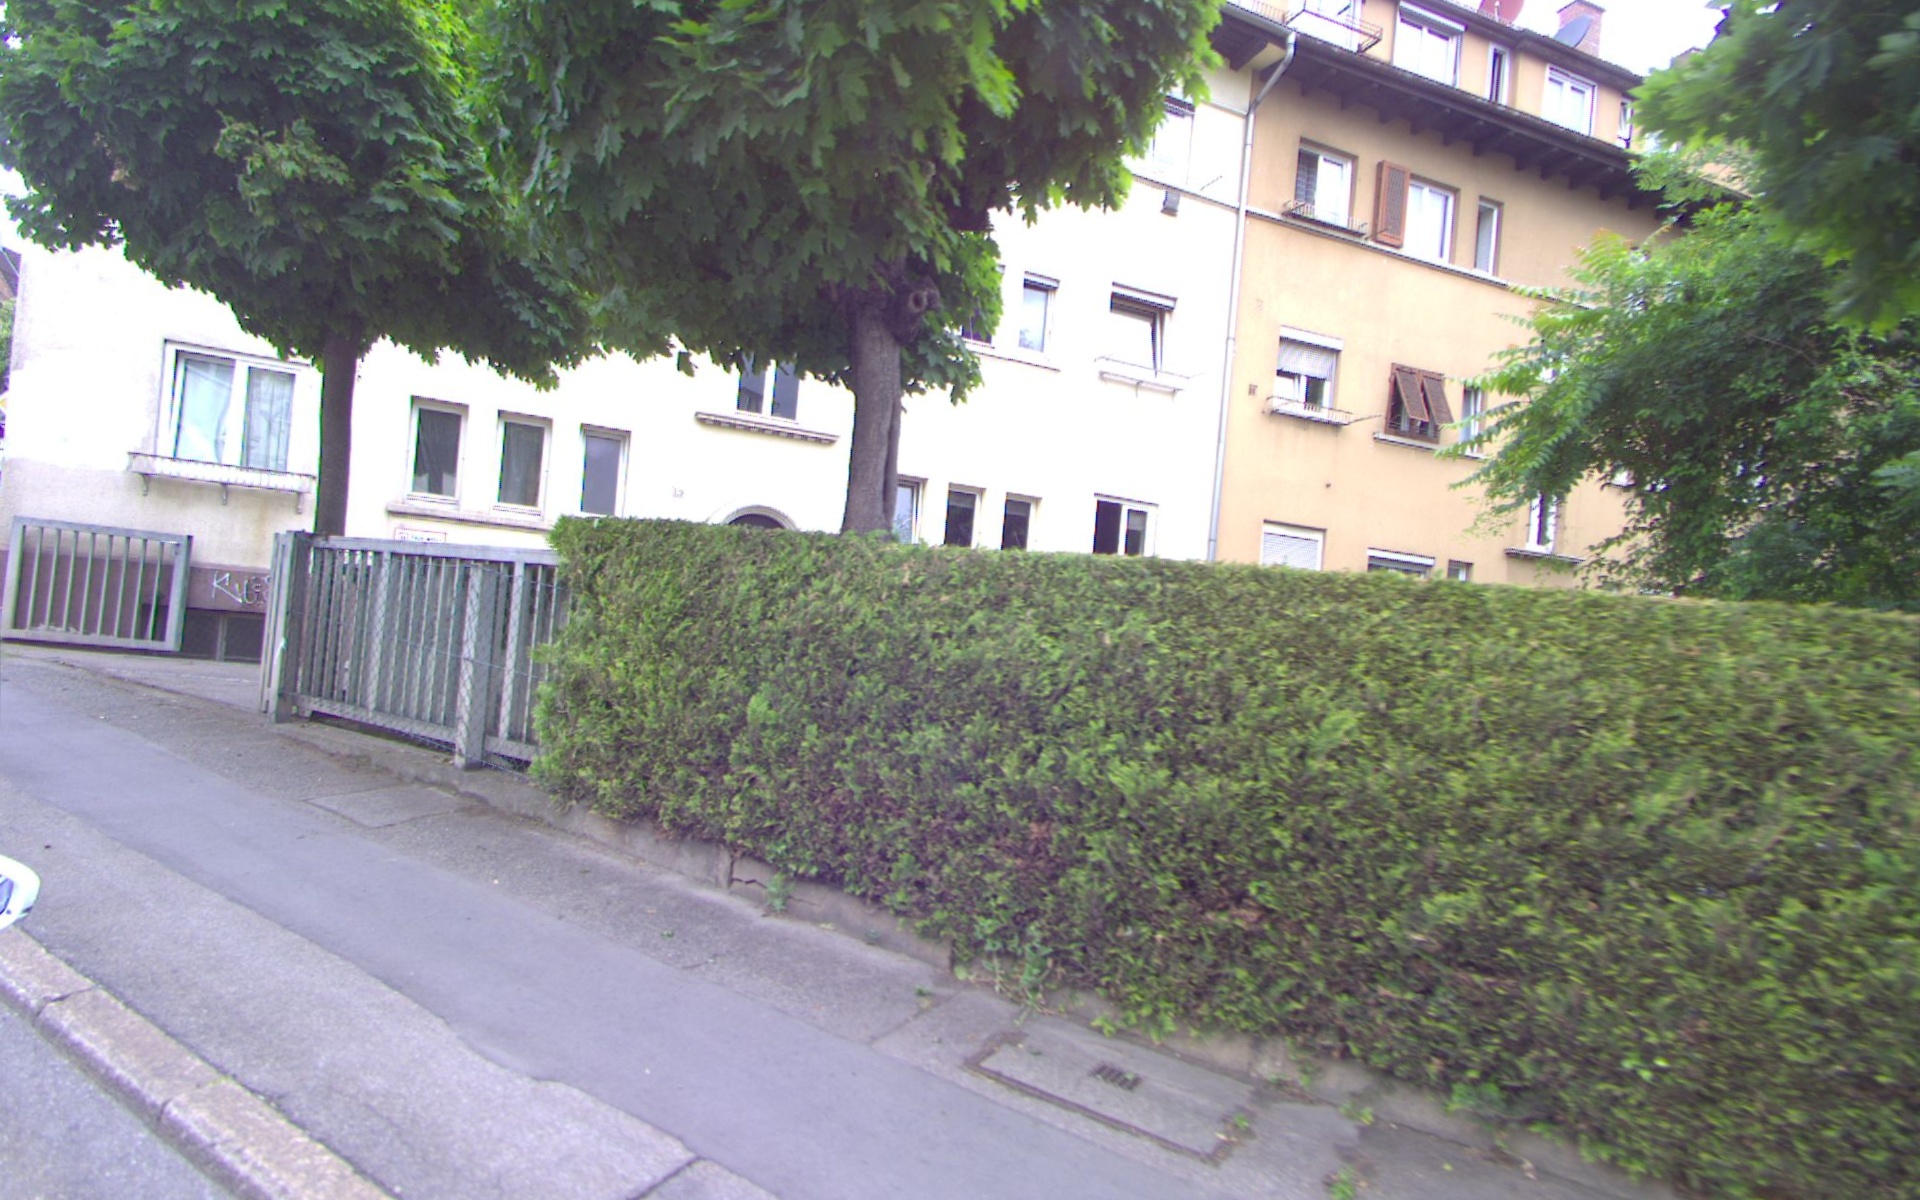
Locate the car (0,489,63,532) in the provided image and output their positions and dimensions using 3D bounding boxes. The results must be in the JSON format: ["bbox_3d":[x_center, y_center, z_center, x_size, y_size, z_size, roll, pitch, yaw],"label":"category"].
[{"bbox_3d":[-44.594,-4.298,48.148,3.945,1.704,1.991,6,-1,42],"label":"car"}]
